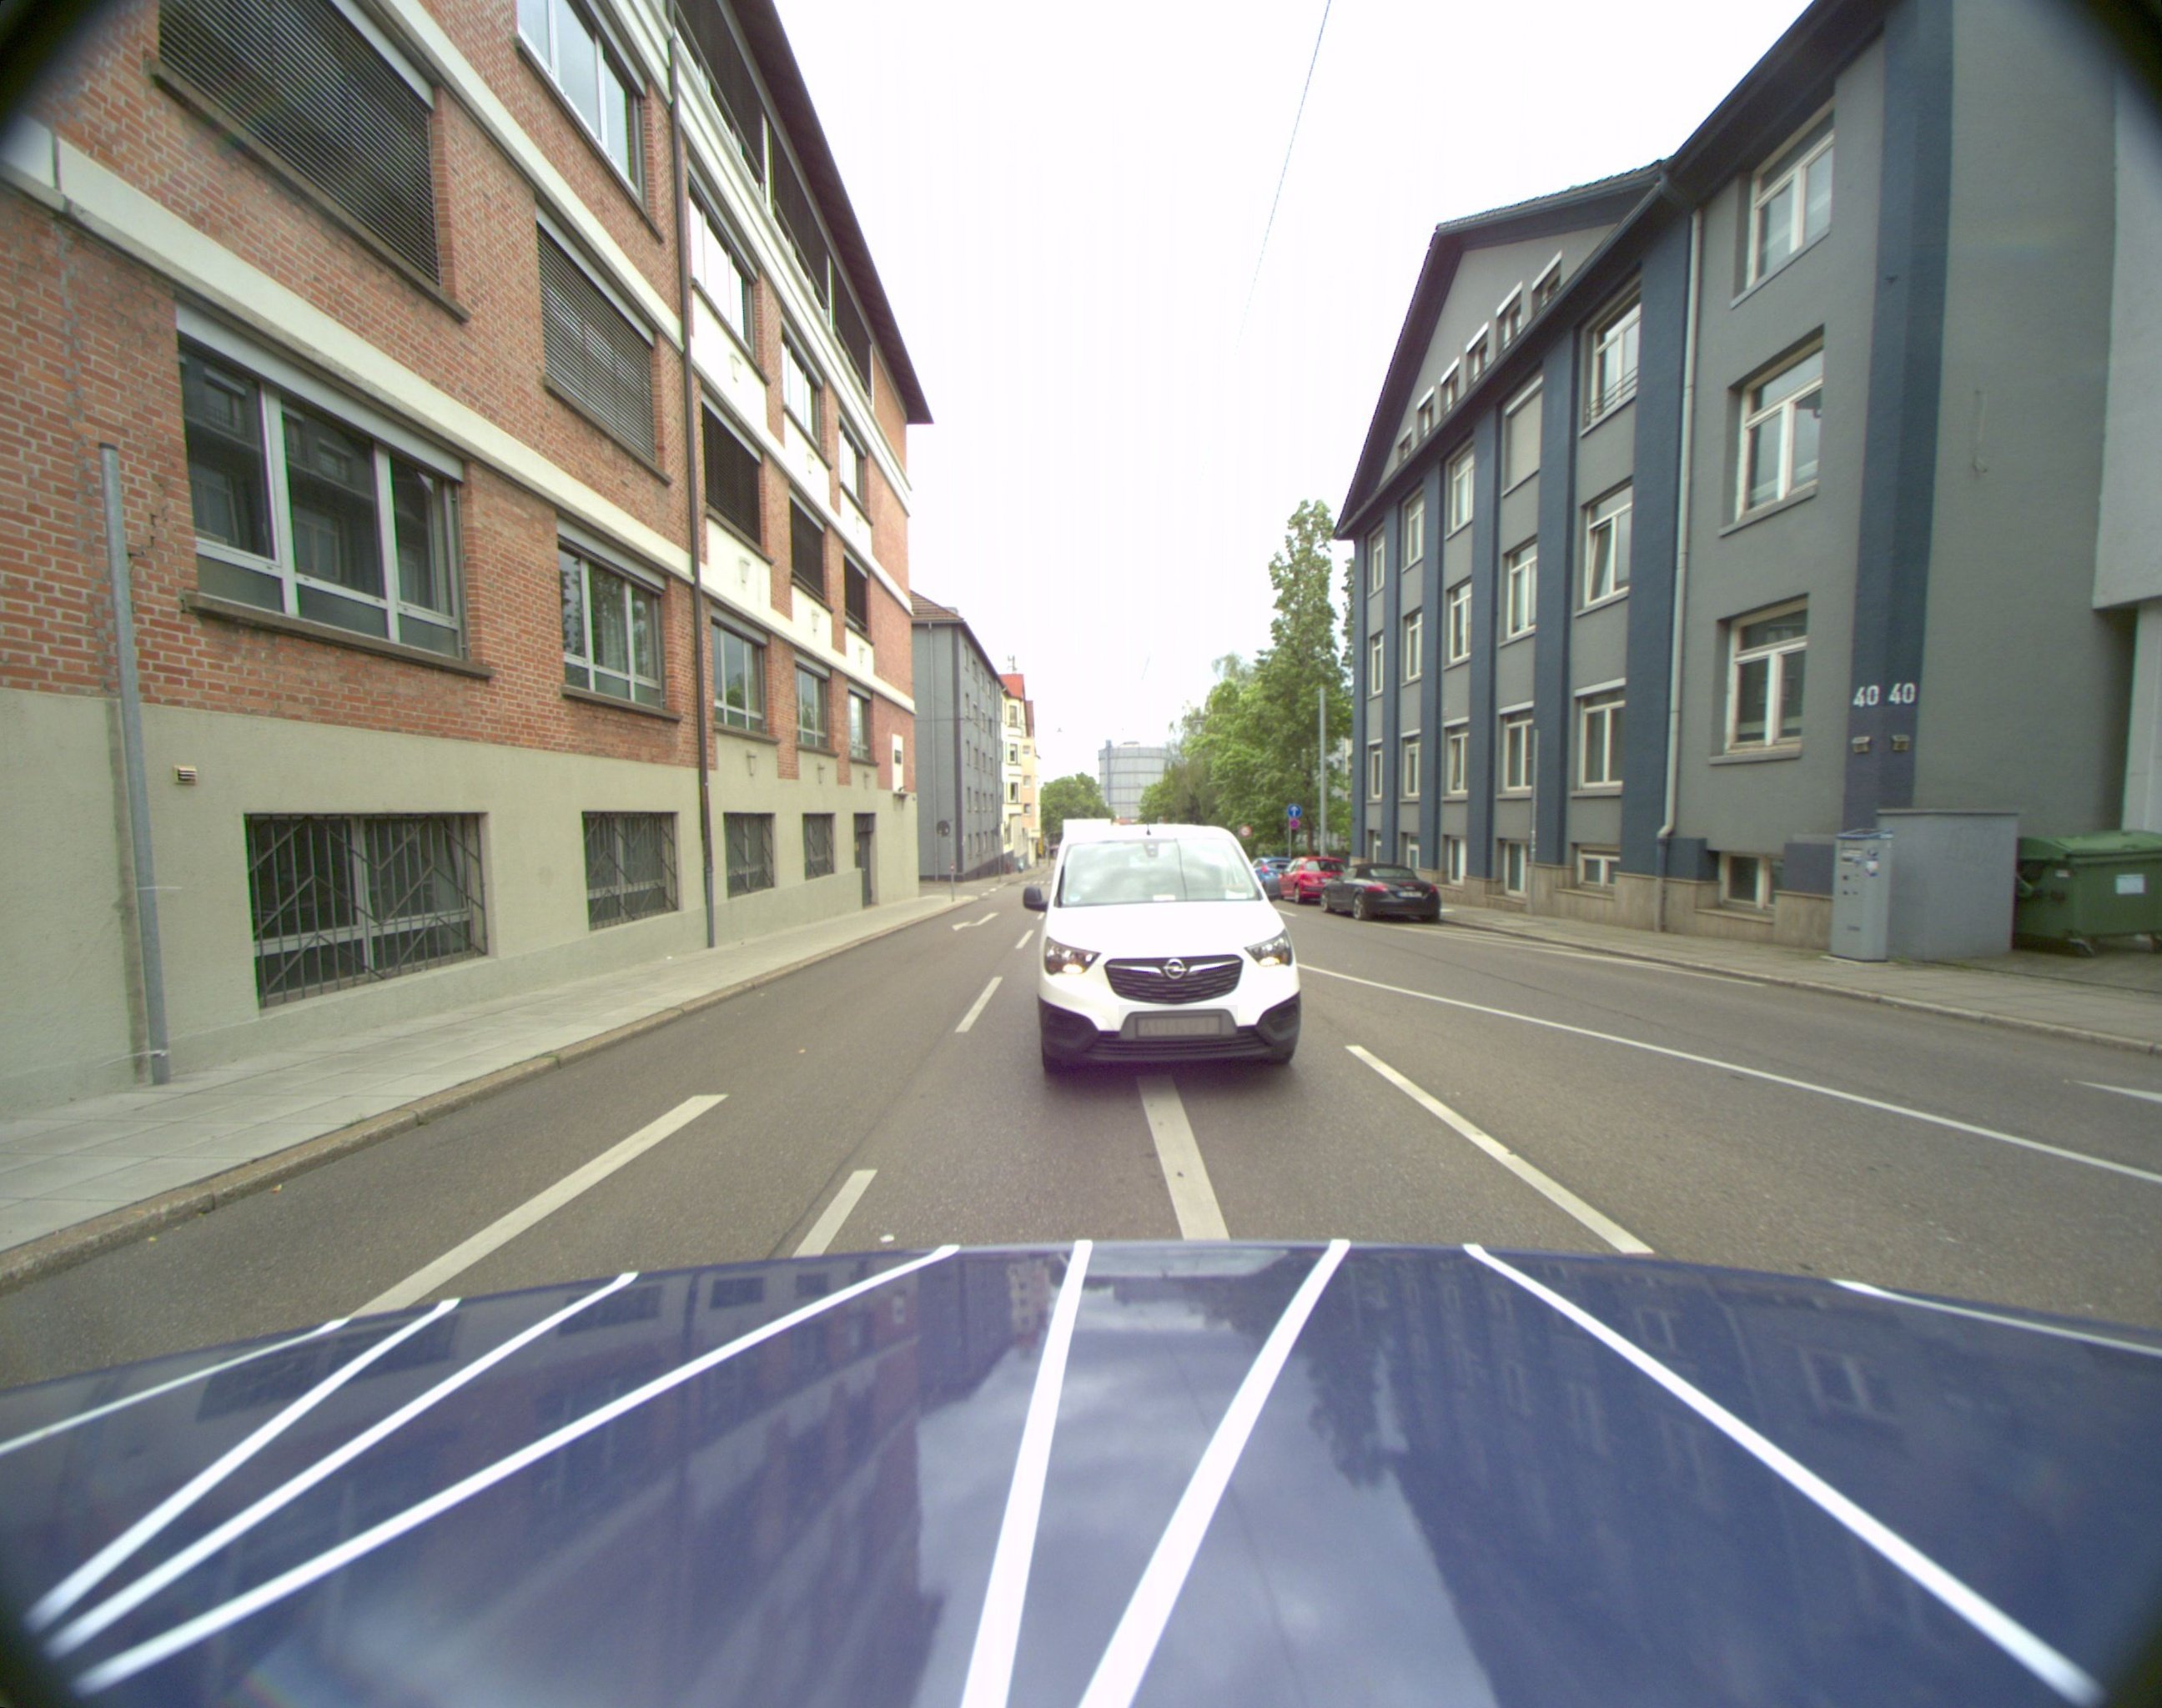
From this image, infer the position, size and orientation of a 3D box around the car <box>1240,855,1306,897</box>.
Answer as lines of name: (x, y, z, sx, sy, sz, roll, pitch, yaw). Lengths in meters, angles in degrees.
car: (7.451, 0.806, 29.850, 1.644, 1.441, 3.729, -2, 1, 1)

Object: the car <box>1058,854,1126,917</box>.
car: (0.314, 0.826, 21.882, 1.739, 1.519, 3.999, -2, 1, 1)

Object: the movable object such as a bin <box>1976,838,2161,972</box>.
movable object such as a bin: (12.084, 0.579, 9.208, 1.229, 1.498, 1.040, -2, 1, 1)

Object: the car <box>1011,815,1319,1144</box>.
car: (0.523, 0.718, 6.454, 1.739, 1.875, 3.999, -2, 1, 1)

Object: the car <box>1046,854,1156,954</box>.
car: (0.352, 0.815, 14.389, 1.739, 1.519, 3.999, -2, 1, 1)

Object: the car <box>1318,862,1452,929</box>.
car: (7.231, 0.925, 18.487, 1.801, 1.384, 3.729, 0, 1, 1)

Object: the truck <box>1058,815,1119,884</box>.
truck: (0.444, -0.289, 43.300, 2.969, 3.409, 8.879, -2, 1, 1)

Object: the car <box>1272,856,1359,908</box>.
car: (7.414, 0.833, 24.340, 1.644, 1.441, 3.729, -2, 1, 1)
